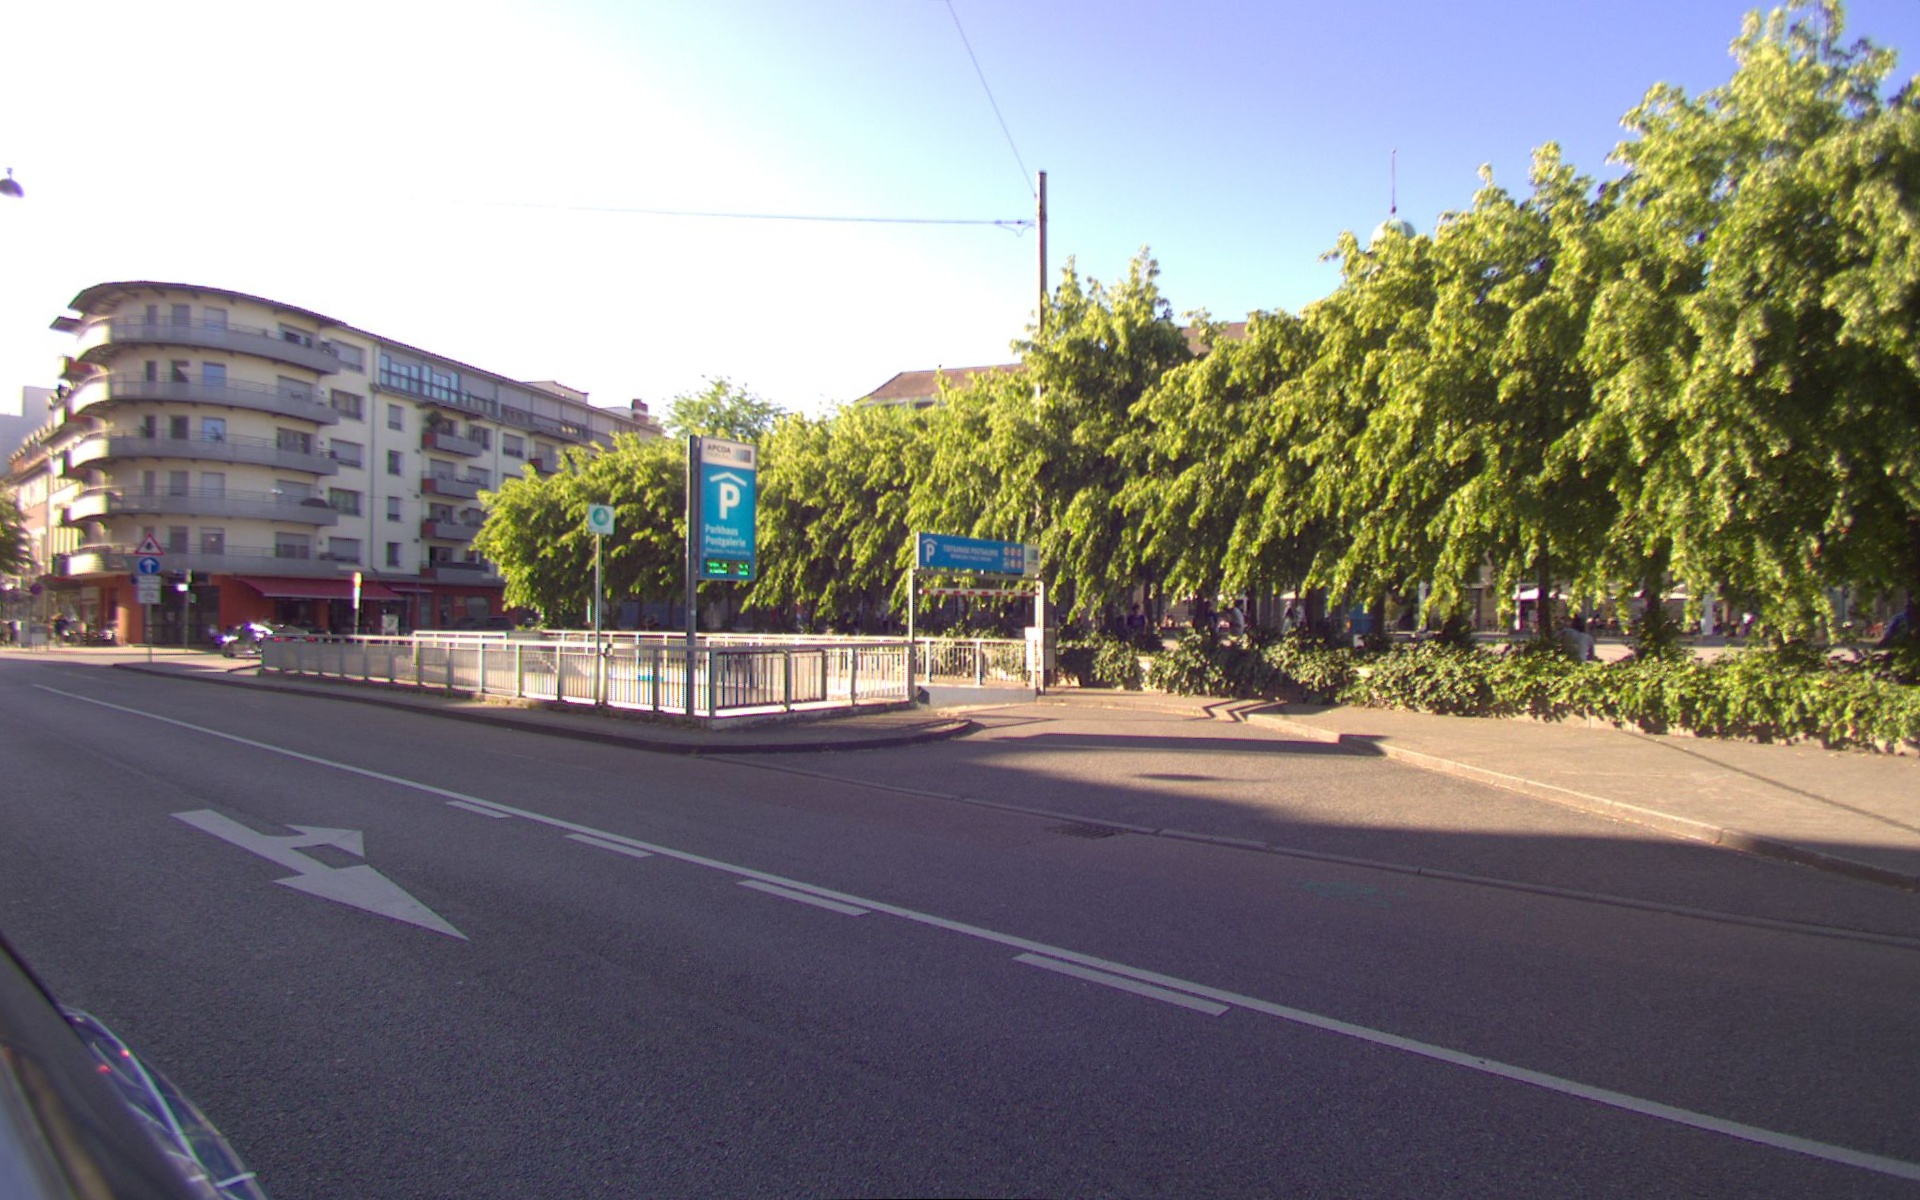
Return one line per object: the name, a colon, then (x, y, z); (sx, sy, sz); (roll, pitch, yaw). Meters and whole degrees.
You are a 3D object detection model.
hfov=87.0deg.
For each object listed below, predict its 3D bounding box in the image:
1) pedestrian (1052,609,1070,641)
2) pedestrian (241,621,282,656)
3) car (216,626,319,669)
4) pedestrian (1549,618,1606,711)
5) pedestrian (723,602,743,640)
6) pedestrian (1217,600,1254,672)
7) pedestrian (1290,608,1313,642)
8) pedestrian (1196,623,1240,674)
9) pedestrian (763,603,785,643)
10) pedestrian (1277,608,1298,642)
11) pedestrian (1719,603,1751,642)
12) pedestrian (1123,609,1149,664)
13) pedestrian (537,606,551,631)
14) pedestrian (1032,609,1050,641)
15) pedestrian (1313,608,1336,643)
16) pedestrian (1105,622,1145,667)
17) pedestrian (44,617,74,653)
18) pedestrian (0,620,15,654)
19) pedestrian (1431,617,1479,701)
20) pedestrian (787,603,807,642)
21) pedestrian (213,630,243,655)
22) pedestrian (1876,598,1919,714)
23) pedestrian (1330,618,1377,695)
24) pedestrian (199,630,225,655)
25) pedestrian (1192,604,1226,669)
pedestrian: (4.475, 1.105, 44.819); (0.684, 1.385, 0.684); (-1, 0, 1)
pedestrian: (-34.490, 1.903, 50.005); (1.253, 1.678, 1.141); (-1, 0, -6)
car: (-28.951, 1.974, 42.299); (4.229, 1.542, 1.661); (2, -4, 28)
pedestrian: (9.809, 1.011, 16.092); (0.611, 1.447, 0.588); (-1, 0, 14)
pedestrian: (-11.343, 1.037, 50.511); (0.679, 1.857, 0.743); (-1, 0, 19)
pedestrian: (6.220, 0.804, 22.887); (0.517, 1.594, 0.686); (-1, 0, -15)
pedestrian: (15.427, 1.120, 45.732); (0.672, 1.542, 0.696); (-1, 0, -18)
pedestrian: (5.694, 1.060, 22.319); (0.682, 1.079, 0.686); (-1, 0, -13)
pedestrian: (-8.974, 1.100, 48.827); (0.681, 1.877, 0.741); (-1, 0, 27)
pedestrian: (15.017, 1.125, 46.437); (0.673, 1.535, 0.695); (-1, 0, -7)
pedestrian: (31.497, 0.916, 41.131); (0.728, 1.542, 0.696); (-1, 0, -19)
pedestrian: (4.498, 0.931, 25.890); (0.545, 1.385, 0.680); (-1, 0, 19)
pedestrian: (-31.268, 1.399, 76.021); (0.684, 1.857, 0.737); (-1, 0, 41)
pedestrian: (3.580, 1.117, 44.856); (0.752, 1.385, 0.684); (-1, 0, 1)
pedestrian: (16.207, 1.109, 44.993); (0.672, 1.536, 0.696); (-1, 0, -19)
pedestrian: (4.070, 1.090, 25.010); (0.682, 1.079, 0.686); (-1, 0, -29)
pedestrian: (-46.292, 1.781, 52.012); (0.962, 1.762, 1.047); (-1, 0, 41)
pedestrian: (-50.047, 1.946, 52.773); (1.080, 1.732, 1.055); (-1, 0, 41)
pedestrian: (8.753, 1.025, 17.901); (0.621, 1.447, 0.645); (-1, 0, 39)
pedestrian: (-8.026, 1.097, 49.782); (0.681, 1.857, 0.741); (-1, 0, 27)
pedestrian: (-36.816, 2.127, 50.899); (0.827, 1.207, 0.931); (-1, 0, 16)
pedestrian: (12.967, 0.748, 13.700); (0.691, 1.532, 0.677); (-1, 0, 30)
pedestrian: (7.526, 1.060, 19.347); (0.622, 1.409, 0.644); (-1, 0, 44)
pedestrian: (-37.636, 2.138, 50.944); (0.882, 1.207, 0.772); (-1, 0, 30)
pedestrian: (5.906, 0.850, 23.993); (0.688, 1.511, 0.680); (-1, 0, 19)
